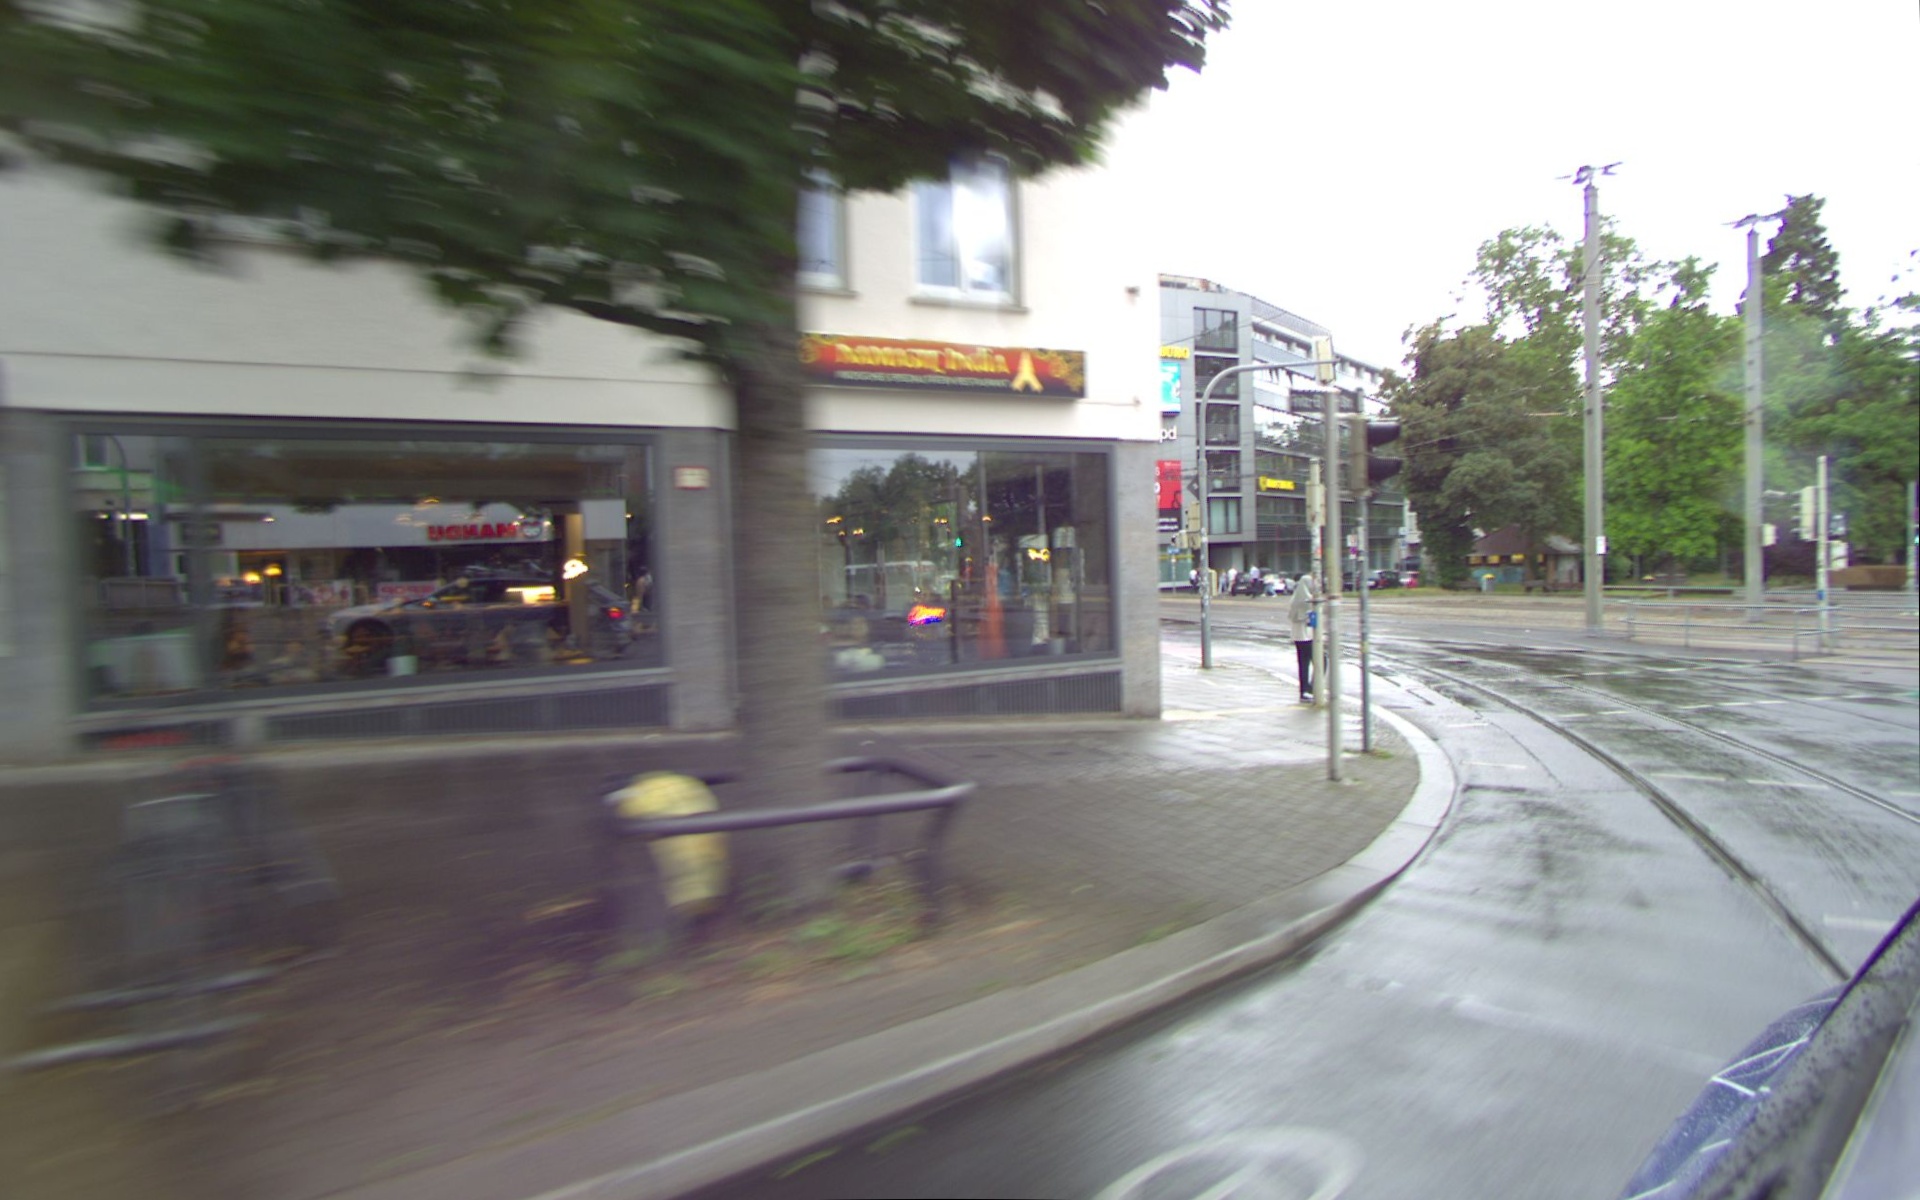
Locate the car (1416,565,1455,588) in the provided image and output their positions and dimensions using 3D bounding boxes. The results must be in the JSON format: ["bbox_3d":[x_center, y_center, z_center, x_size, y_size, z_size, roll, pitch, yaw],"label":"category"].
[{"bbox_3d":[32.144,-1.581,68.369,1.693,1.466,3.492,0,2,38],"label":"car"}]

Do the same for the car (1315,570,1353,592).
[{"bbox_3d":[27.147,-1.381,73.354,1.693,1.574,3.494,0,2,37],"label":"car"}]

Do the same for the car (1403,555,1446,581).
[{"bbox_3d":[41.608,-2.889,90.682,2.322,2.248,4.998,0,2,39],"label":"car"}]

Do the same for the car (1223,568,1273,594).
[{"bbox_3d":[18.029,-1.180,63.238,1.694,1.570,3.689,0,2,39],"label":"car"}]

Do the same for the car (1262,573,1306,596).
[{"bbox_3d":[21.259,-1.023,66.338,1.693,1.472,3.693,0,2,37],"label":"car"}]

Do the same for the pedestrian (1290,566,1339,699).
[{"bbox_3d":[4.742,0.419,13.555,0.520,1.733,0.703,-1,1,12],"label":"pedestrian"}]

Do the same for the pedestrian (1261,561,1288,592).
[{"bbox_3d":[17.362,-1.305,55.889,0.894,1.613,1.006,-4,3,-18],"label":"pedestrian"}]

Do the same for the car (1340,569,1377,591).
[{"bbox_3d":[30.100,-1.526,76.398,1.693,1.574,3.494,0,2,37],"label":"car"}]

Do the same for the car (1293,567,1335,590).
[{"bbox_3d":[24.385,-1.487,69.598,1.693,1.472,3.693,0,2,37],"label":"car"}]

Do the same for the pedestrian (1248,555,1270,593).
[{"bbox_3d":[15.818,-1.385,53.565,0.898,1.885,1.002,-3,3,7],"label":"pedestrian"}]

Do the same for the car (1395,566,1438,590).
[{"bbox_3d":[28.677,-1.371,63.546,1.693,1.466,3.492,0,2,38],"label":"car"}]

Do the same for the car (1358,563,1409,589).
[{"bbox_3d":[24.881,-1.399,59.411,1.696,1.466,3.488,0,2,42],"label":"car"}]

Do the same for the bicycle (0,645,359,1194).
[{"bbox_3d":[-2.347,0.751,3.158,0.636,1.105,1.825,1,1,-26],"label":"bicycle"}]

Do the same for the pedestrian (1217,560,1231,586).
[{"bbox_3d":[16.878,-1.758,64.696,0.577,1.613,0.637,-4,2,-9],"label":"pedestrian"}]
